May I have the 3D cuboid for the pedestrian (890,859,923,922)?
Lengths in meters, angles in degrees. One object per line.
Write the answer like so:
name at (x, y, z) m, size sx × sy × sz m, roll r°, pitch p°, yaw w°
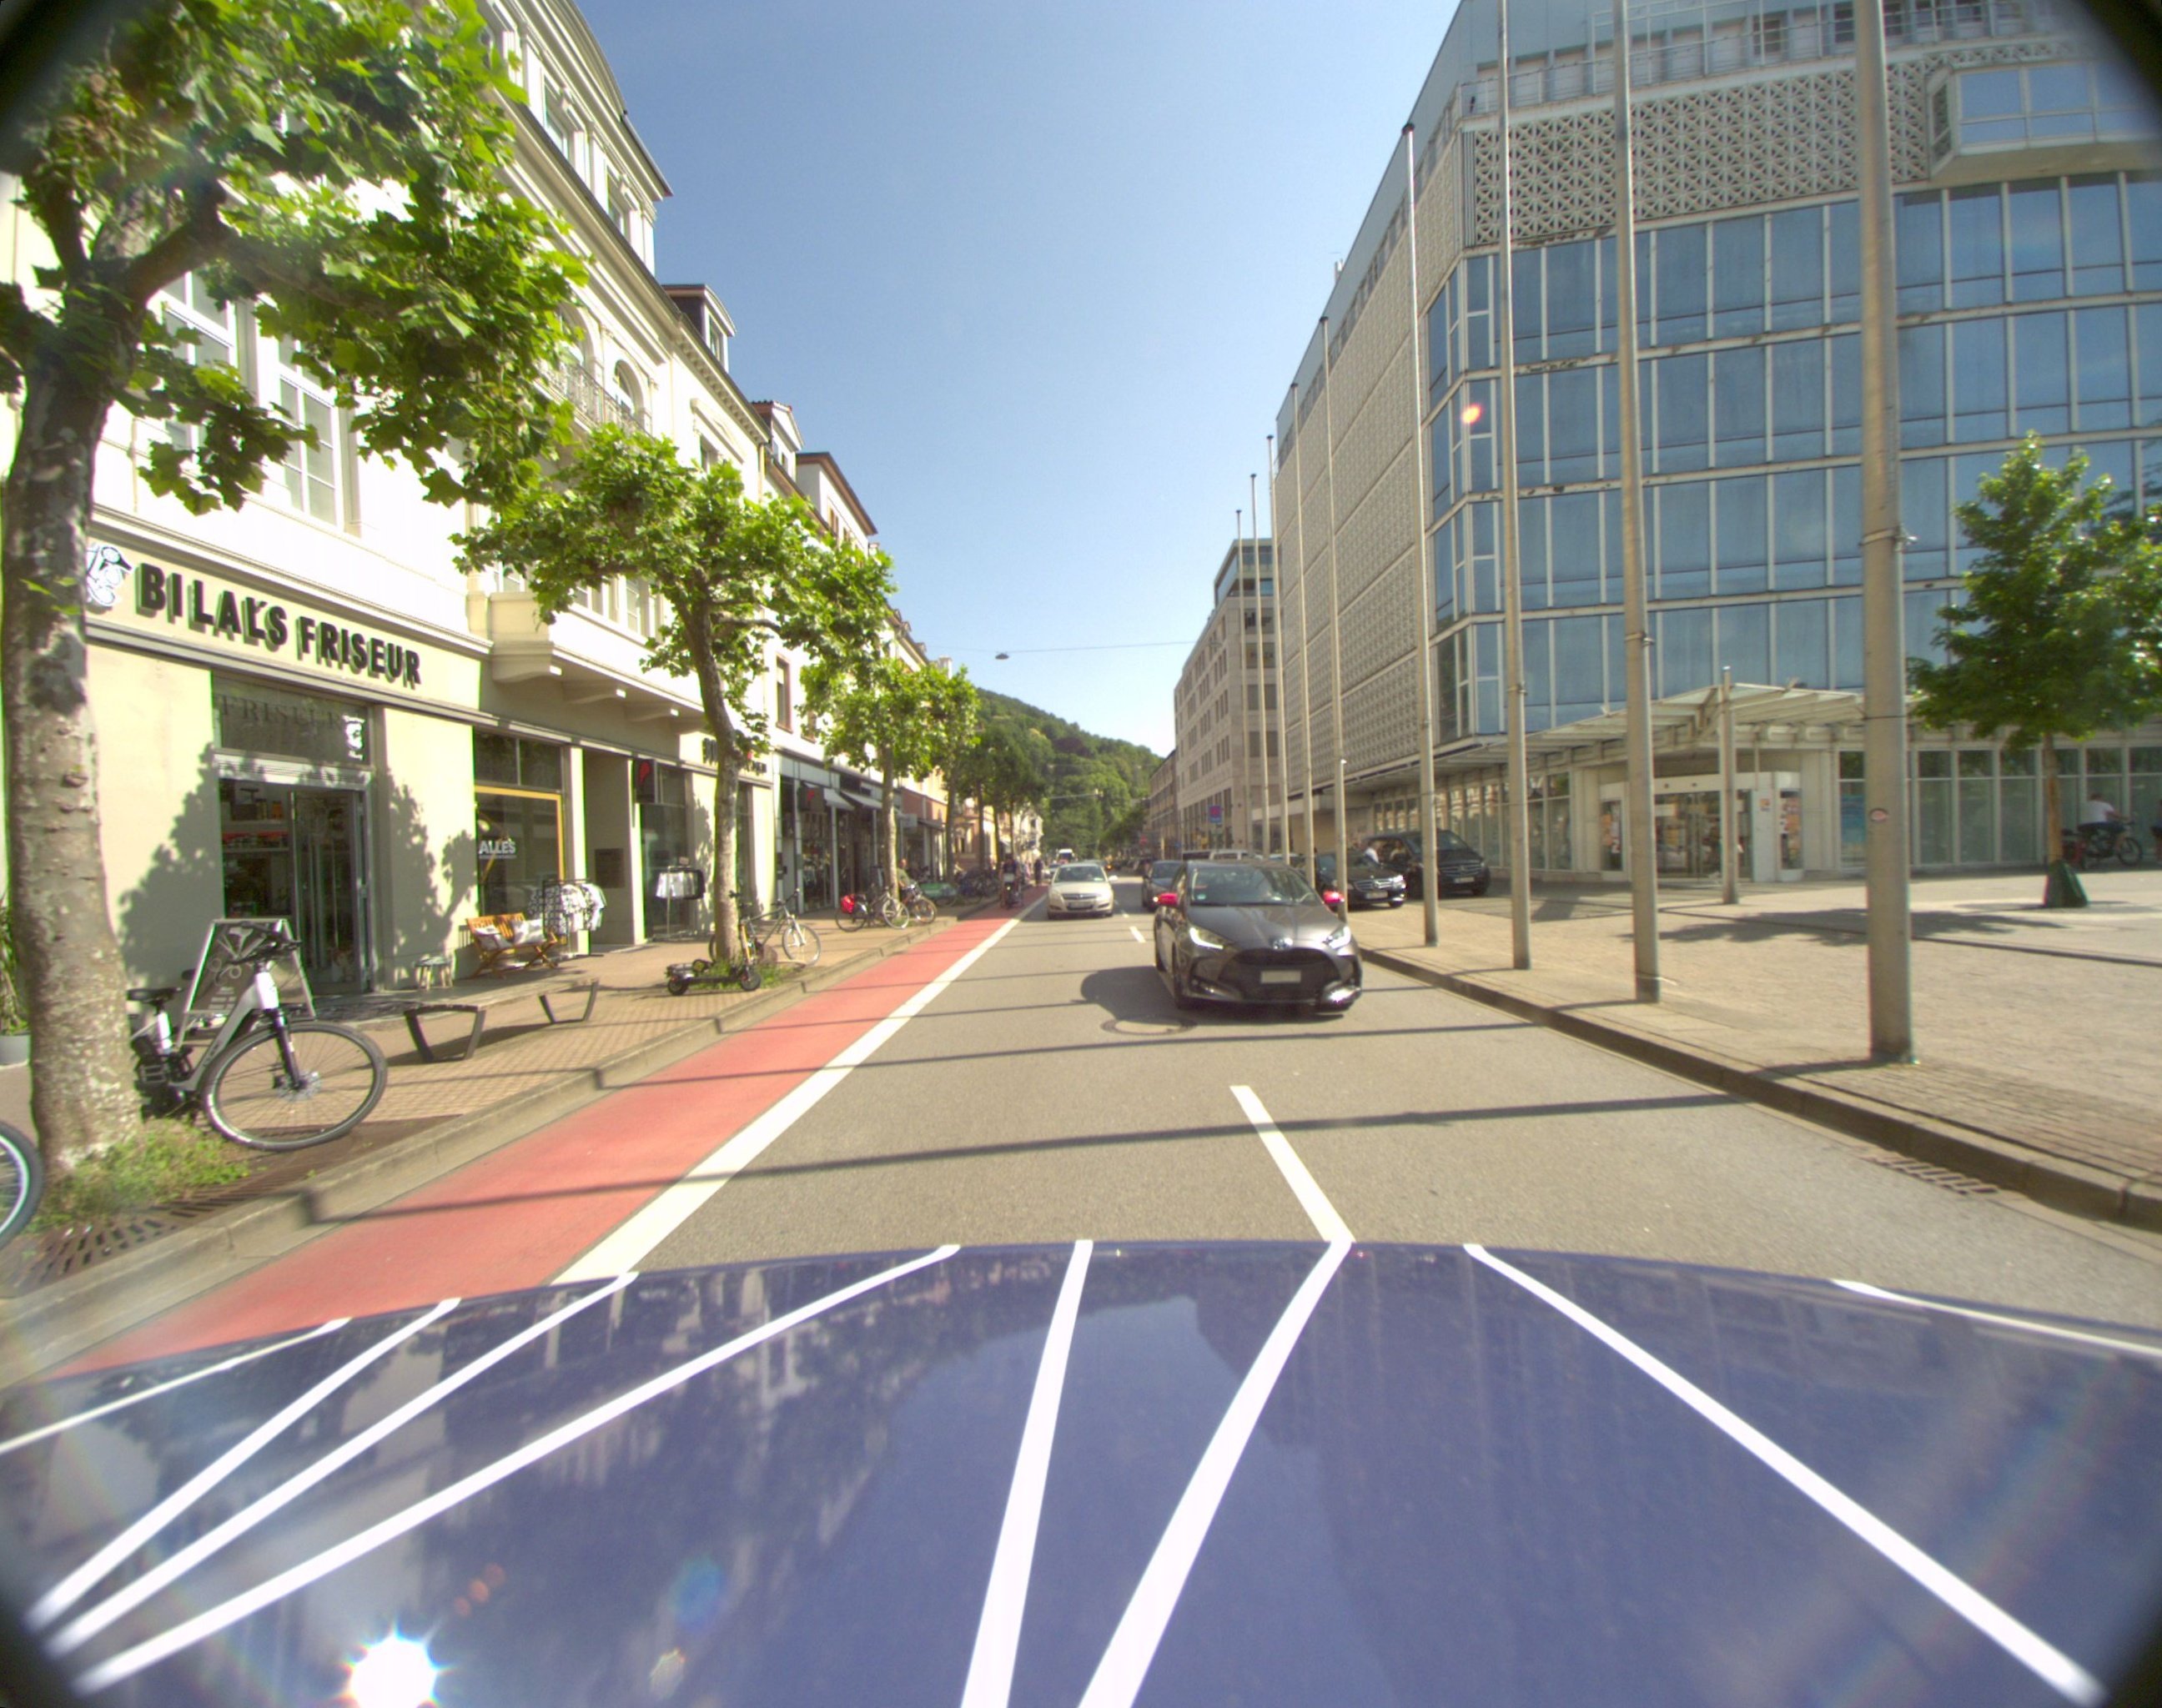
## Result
pedestrian at (-4.813, 0.990, 21.003) m, size 0.641 × 1.679 × 0.843 m, roll -3°, pitch 0°, yaw -2°

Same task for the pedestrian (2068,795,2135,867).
pedestrian at (25.847, -0.563, 19.259) m, size 0.778 × 1.755 × 0.652 m, roll -3°, pitch 1°, yaw -2°

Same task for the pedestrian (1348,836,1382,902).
pedestrian at (7.881, 0.421, 21.089) m, size 0.618 × 1.782 × 0.694 m, roll -2°, pitch 0°, yaw 40°

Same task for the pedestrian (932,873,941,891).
pedestrian at (-7.922, 1.526, 41.717) m, size 0.365 × 0.962 × 0.437 m, roll -2°, pitch 0°, yaw 2°

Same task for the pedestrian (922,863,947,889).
pedestrian at (-8.655, 1.279, 44.884) m, size 1.255 × 1.475 × 0.837 m, roll -2°, pitch 1°, yaw -2°

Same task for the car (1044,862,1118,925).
car at (-0.063, 0.996, 21.116) m, size 1.791 × 1.483 × 4.367 m, roll -2°, pitch 0°, yaw -2°

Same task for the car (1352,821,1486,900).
car at (9.764, 0.181, 22.407) m, size 1.836 × 2.002 × 4.685 m, roll -2°, pitch 0°, yaw 1°

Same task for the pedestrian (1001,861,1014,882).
pedestrian at (-5.655, 1.353, 58.489) m, size 0.640 × 1.648 × 0.791 m, roll -2°, pitch -2°, yaw 15°

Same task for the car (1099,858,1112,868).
car at (3.582, 1.245, 111.387) m, size 1.734 × 1.389 × 4.106 m, roll -2°, pitch 0°, yaw 1°

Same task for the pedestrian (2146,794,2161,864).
pedestrian at (27.593, -0.648, 19.072) m, size 0.778 × 1.755 × 0.652 m, roll -3°, pitch 1°, yaw -2°

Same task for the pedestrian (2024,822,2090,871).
pedestrian at (24.223, -0.184, 18.871) m, size 0.778 × 1.140 × 0.652 m, roll -3°, pitch 0°, yaw -2°

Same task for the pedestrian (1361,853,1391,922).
pedestrian at (7.820, 0.885, 20.119) m, size 0.531 × 1.782 × 0.540 m, roll -2°, pitch 1°, yaw 40°

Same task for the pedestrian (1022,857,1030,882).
pedestrian at (-3.995, 1.138, 55.468) m, size 0.453 × 1.784 × 0.608 m, roll -3°, pitch 0°, yaw -2°

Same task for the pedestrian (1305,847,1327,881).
pedestrian at (11.794, 0.493, 38.201) m, size 0.789 × 1.651 × 0.641 m, roll -5°, pitch 2°, yaw -2°

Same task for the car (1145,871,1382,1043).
car at (1.752, 0.933, 8.634) m, size 1.868 × 1.469 × 4.108 m, roll 0°, pitch -1°, yaw 3°

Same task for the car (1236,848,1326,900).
car at (6.684, 0.637, 25.917) m, size 1.803 × 1.514 × 4.739 m, roll -3°, pitch -1°, yaw 1°

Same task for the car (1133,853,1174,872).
car at (7.849, 0.897, 82.268) m, size 4.166 × 1.627 × 2.103 m, roll -6°, pitch 0°, yaw 9°

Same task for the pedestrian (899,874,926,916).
pedestrian at (-5.216, 1.271, 23.516) m, size 0.641 × 1.226 × 0.596 m, roll -3°, pitch 2°, yaw -2°

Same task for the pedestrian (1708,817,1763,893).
pedestrian at (15.039, 0.017, 17.475) m, size 0.684 × 1.705 × 0.723 m, roll -1°, pitch 1°, yaw 10°

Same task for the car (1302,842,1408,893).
car at (9.961, 0.460, 28.030) m, size 1.999 × 1.601 × 4.399 m, roll -3°, pitch 0°, yaw -4°

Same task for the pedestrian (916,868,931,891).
pedestrian at (-8.559, 1.377, 41.243) m, size 0.683 × 1.246 × 0.532 m, roll -1°, pitch 0°, yaw -2°

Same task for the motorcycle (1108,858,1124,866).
motorcycle at (6.360, 1.438, 138.042) m, size 0.980 × 1.342 × 3.094 m, roll -1°, pitch 0°, yaw -43°

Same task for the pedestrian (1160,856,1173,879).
pedestrian at (5.827, 0.911, 51.791) m, size 0.641 × 1.550 × 0.680 m, roll -3°, pitch 0°, yaw -11°

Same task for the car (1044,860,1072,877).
car at (-2.053, 1.312, 70.206) m, size 1.956 × 1.416 × 4.888 m, roll -4°, pitch 0°, yaw 4°

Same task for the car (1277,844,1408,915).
car at (6.726, 0.599, 20.117) m, size 1.765 × 1.590 × 4.709 m, roll -2°, pitch 0°, yaw 0°

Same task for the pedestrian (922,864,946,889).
pedestrian at (-8.506, 1.294, 44.020) m, size 1.236 × 1.414 × 0.789 m, roll -1°, pitch 1°, yaw -2°

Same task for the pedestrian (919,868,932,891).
pedestrian at (-8.566, 1.398, 41.842) m, size 0.641 × 1.246 × 0.608 m, roll 0°, pitch 1°, yaw -2°

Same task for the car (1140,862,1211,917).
car at (2.731, 0.998, 22.734) m, size 1.733 × 1.389 × 4.107 m, roll -2°, pitch 0°, yaw 3°

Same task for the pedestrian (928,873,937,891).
pedestrian at (-8.031, 1.516, 41.052) m, size 0.342 × 0.962 × 0.437 m, roll -2°, pitch 0°, yaw 2°

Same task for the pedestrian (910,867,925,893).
pedestrian at (-8.623, 1.360, 40.102) m, size 0.683 × 1.325 × 0.532 m, roll -2°, pitch 0°, yaw -2°

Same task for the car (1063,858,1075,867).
car at (-2.060, 1.488, 128.340) m, size 1.868 × 1.478 × 4.414 m, roll -2°, pitch 0°, yaw -2°

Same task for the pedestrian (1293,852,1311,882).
pedestrian at (11.066, 0.636, 38.120) m, size 0.594 × 1.428 × 0.641 m, roll -5°, pitch 2°, yaw -2°

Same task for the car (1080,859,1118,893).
car at (0.915, 1.117, 39.873) m, size 1.775 × 1.469 × 4.105 m, roll -4°, pitch 1°, yaw 0°

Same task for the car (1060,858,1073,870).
car at (-2.285, 1.521, 117.242) m, size 1.799 × 1.515 × 4.262 m, roll -5°, pitch 1°, yaw -2°

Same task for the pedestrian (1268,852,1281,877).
pedestrian at (13.051, 0.714, 51.295) m, size 0.589 × 1.626 × 0.863 m, roll -3°, pitch 0°, yaw 0°

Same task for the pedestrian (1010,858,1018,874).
pedestrian at (-7.623, 1.350, 86.525) m, size 0.840 × 1.781 × 0.767 m, roll -1°, pitch 1°, yaw 1°

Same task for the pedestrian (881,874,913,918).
pedestrian at (-5.509, 1.255, 22.777) m, size 0.789 × 1.236 × 0.576 m, roll -3°, pitch 2°, yaw -2°

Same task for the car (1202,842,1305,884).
car at (8.453, 0.463, 37.399) m, size 4.434 × 1.898 × 2.013 m, roll -3°, pitch -1°, yaw 37°
